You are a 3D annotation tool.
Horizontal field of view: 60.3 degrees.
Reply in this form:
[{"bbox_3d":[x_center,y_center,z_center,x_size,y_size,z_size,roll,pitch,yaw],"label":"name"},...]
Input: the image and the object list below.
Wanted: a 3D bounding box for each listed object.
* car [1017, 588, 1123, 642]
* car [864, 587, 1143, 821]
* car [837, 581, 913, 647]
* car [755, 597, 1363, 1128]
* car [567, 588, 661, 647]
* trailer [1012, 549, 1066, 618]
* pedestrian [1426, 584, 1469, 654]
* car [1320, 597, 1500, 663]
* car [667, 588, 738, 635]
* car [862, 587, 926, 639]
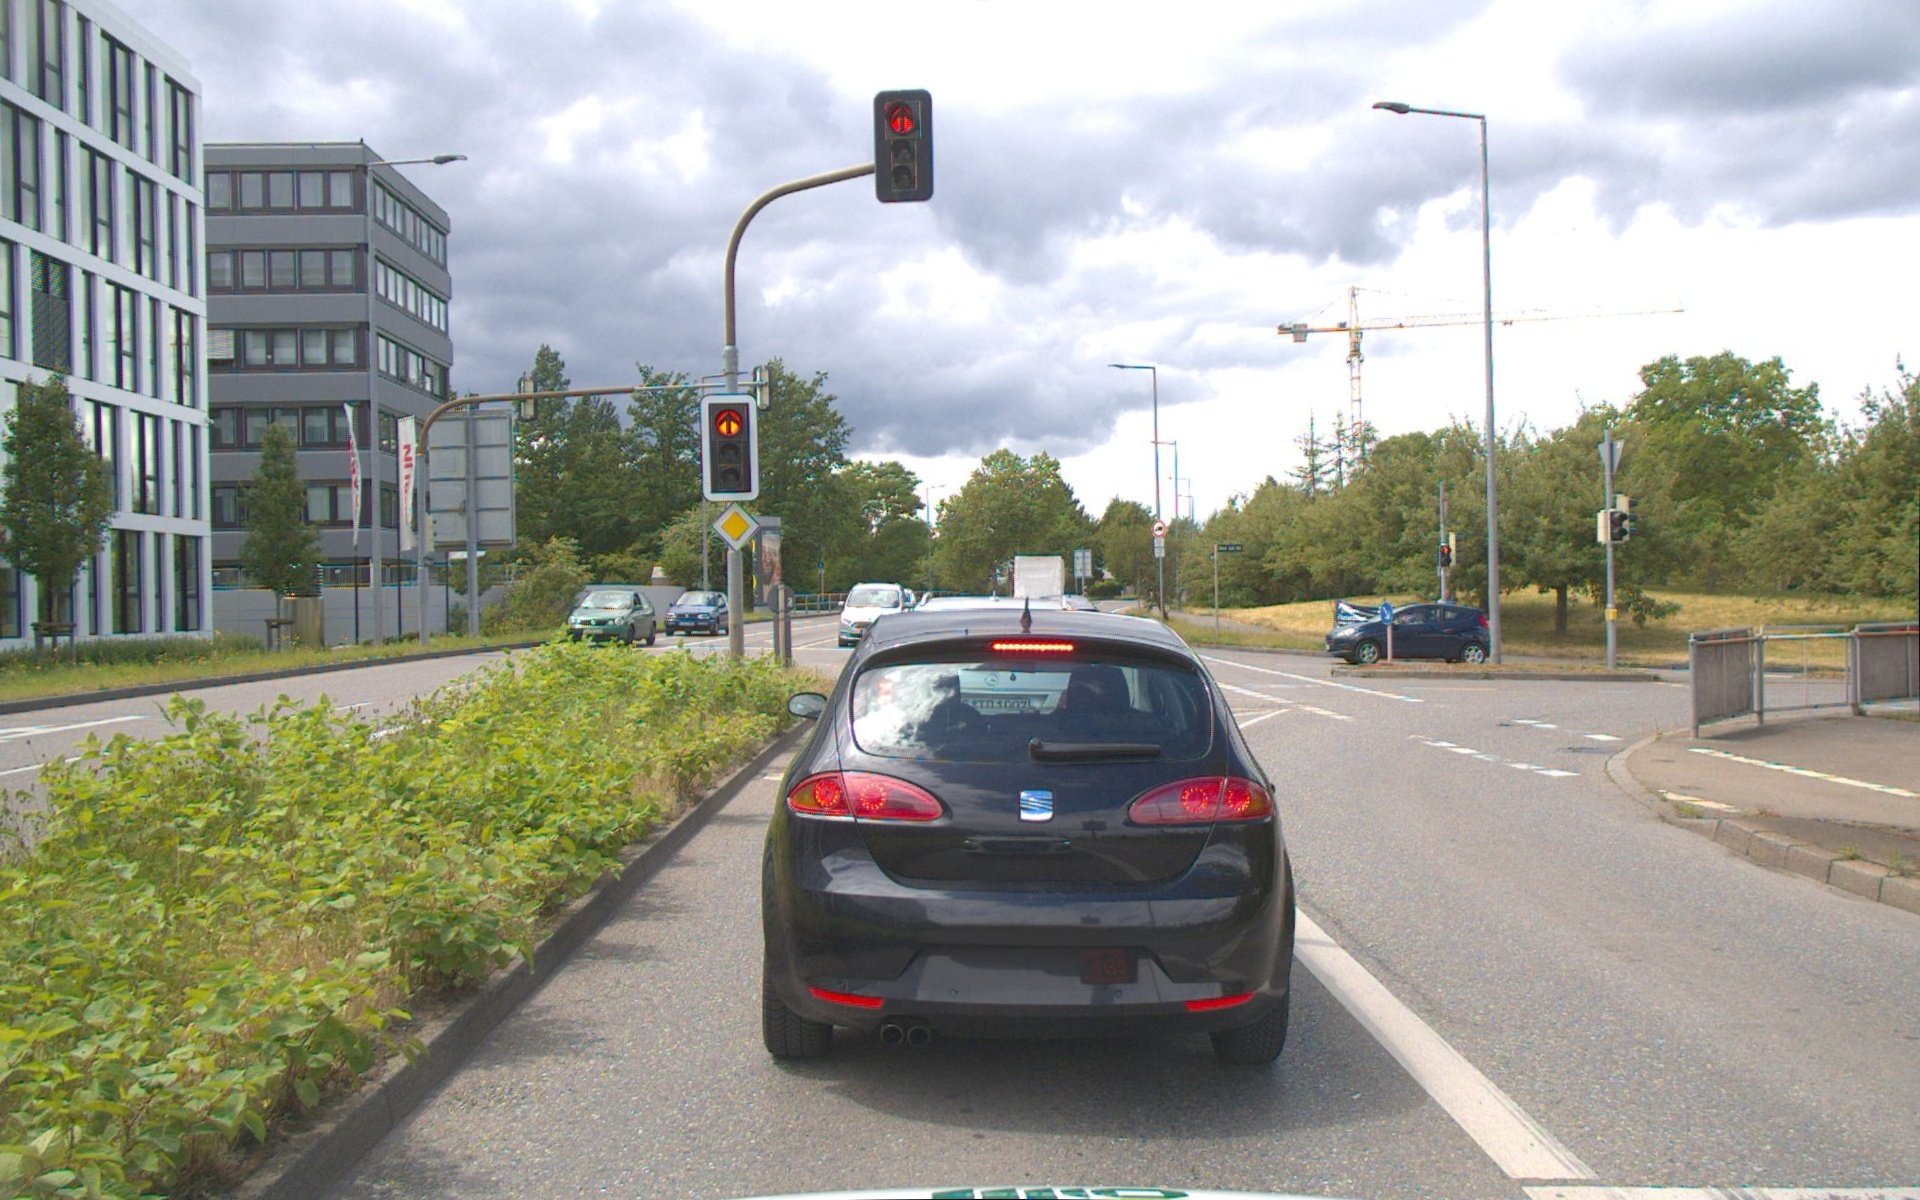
[{"bbox_3d":[3.310,0.422,50.701,1.960,1.593,4.453,0,0,-15],"label":"car"},{"bbox_3d":[0.296,0.686,12.660,1.797,1.493,3.751,1,0,0],"label":"car"},{"bbox_3d":[-2.319,0.347,46.156,1.783,1.716,4.646,1,1,1],"label":"car"},{"bbox_3d":[0.259,0.730,6.329,1.676,1.442,3.459,1,0,-1],"label":"car"},{"bbox_3d":[-9.022,0.431,43.382,1.572,1.457,3.753,0,0,1],"label":"car"},{"bbox_3d":[3.760,-0.758,78.811,2.439,3.127,5.589,1,0,3],"label":"trailer"},{"bbox_3d":[12.925,0.489,43.871,0.704,1.824,1.042,1,0,-7],"label":"pedestrian"},{"bbox_3d":[10.586,0.692,39.073,3.798,1.471,1.760,1,0,2],"label":"car"},{"bbox_3d":[-8.375,0.343,54.100,1.521,1.444,3.897,1,1,3],"label":"car"},{"bbox_3d":[-2.045,0.381,52.237,1.625,1.545,4.086,1,1,3],"label":"car"}]
